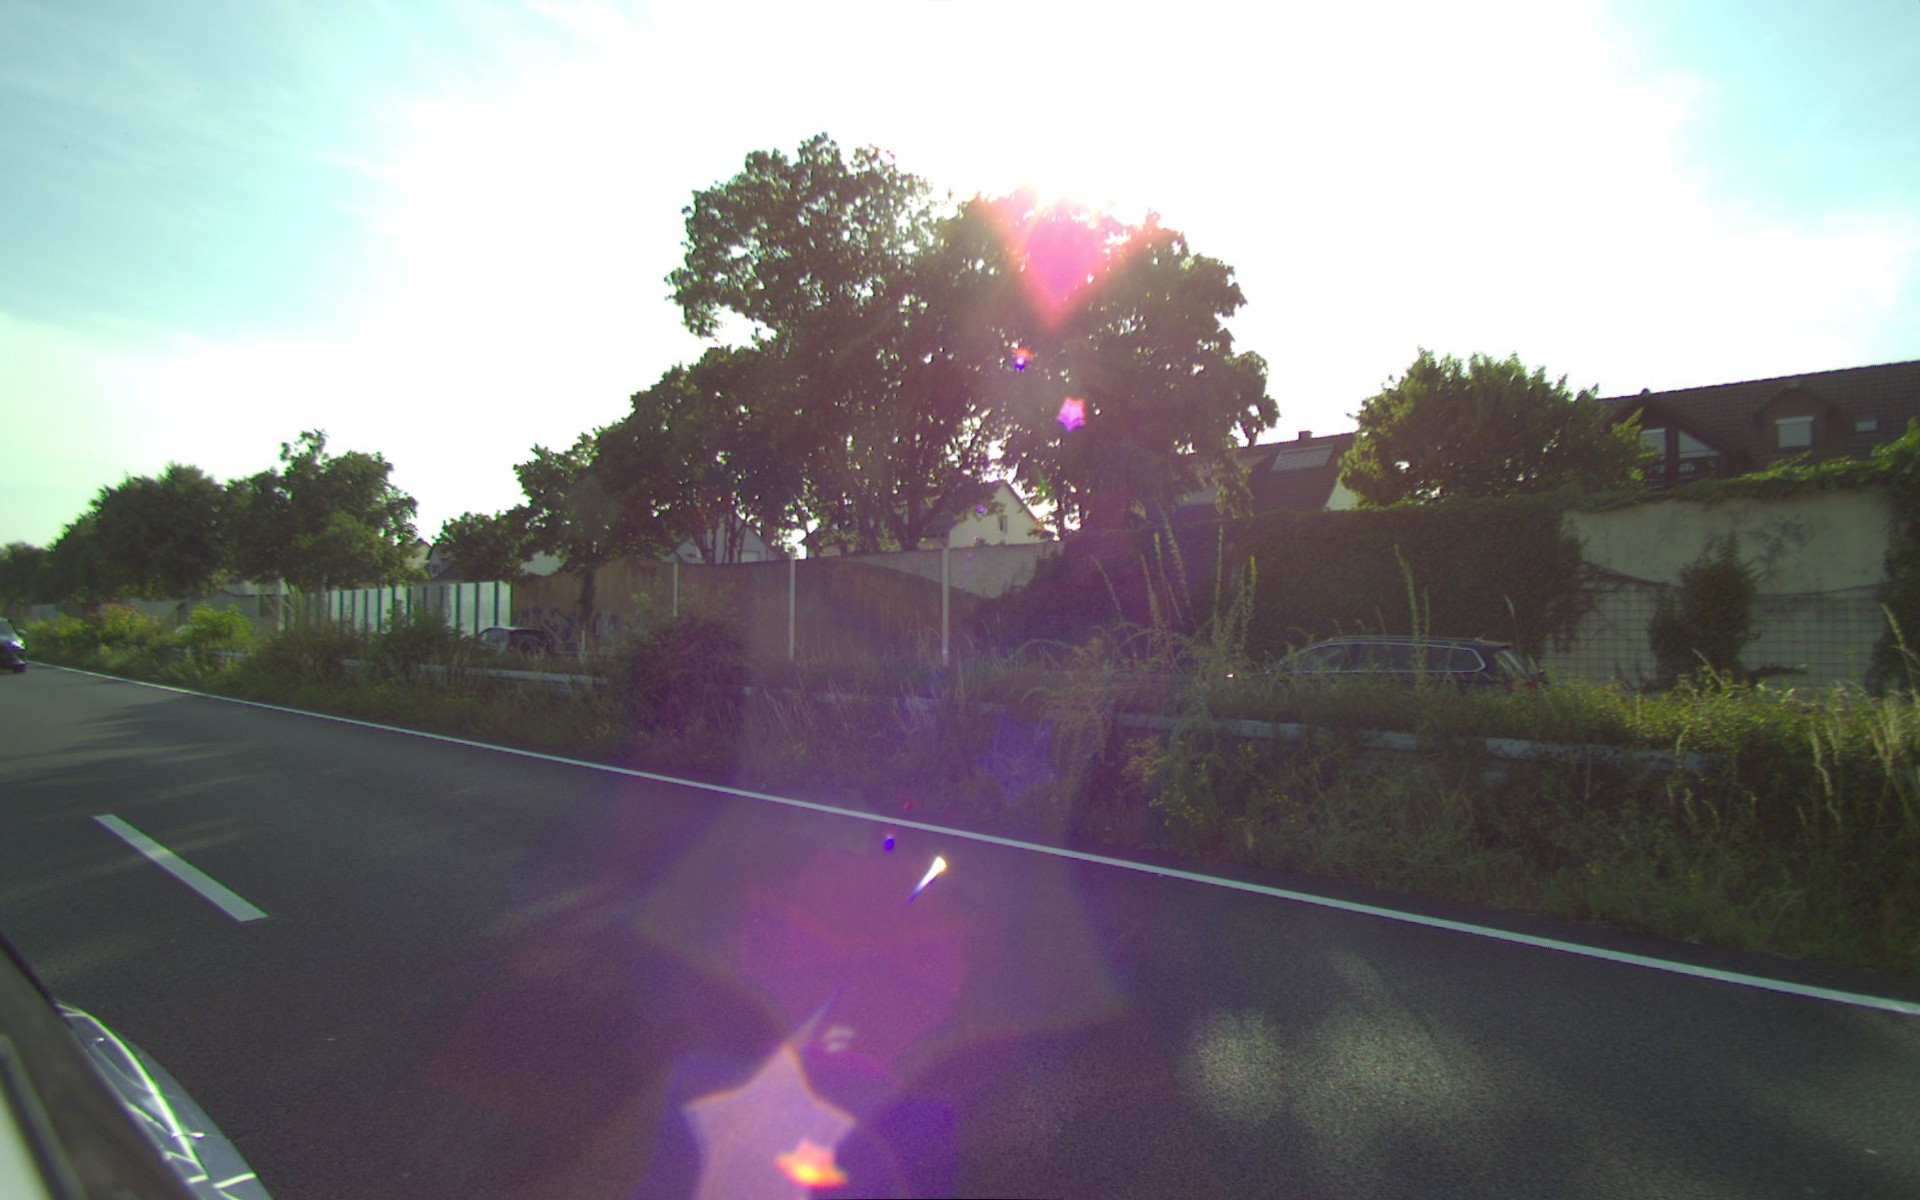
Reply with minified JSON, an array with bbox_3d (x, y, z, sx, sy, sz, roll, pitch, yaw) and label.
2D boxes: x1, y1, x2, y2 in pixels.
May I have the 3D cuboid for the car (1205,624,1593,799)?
[{"bbox_3d":[5.649,1.286,13.344,4.363,1.869,1.816,-1,0,40],"label":"car"}]

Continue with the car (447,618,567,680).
[{"bbox_3d":[-14.148,1.455,31.513,3.998,1.741,1.917,-1,0,41],"label":"car"}]

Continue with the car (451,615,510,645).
[{"bbox_3d":[-31.818,1.955,67.112,4.912,1.933,1.767,-1,0,41],"label":"car"}]

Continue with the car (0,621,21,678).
[{"bbox_3d":[-28.189,1.386,28.794,4.245,1.536,1.798,-1,0,42],"label":"car"}]
